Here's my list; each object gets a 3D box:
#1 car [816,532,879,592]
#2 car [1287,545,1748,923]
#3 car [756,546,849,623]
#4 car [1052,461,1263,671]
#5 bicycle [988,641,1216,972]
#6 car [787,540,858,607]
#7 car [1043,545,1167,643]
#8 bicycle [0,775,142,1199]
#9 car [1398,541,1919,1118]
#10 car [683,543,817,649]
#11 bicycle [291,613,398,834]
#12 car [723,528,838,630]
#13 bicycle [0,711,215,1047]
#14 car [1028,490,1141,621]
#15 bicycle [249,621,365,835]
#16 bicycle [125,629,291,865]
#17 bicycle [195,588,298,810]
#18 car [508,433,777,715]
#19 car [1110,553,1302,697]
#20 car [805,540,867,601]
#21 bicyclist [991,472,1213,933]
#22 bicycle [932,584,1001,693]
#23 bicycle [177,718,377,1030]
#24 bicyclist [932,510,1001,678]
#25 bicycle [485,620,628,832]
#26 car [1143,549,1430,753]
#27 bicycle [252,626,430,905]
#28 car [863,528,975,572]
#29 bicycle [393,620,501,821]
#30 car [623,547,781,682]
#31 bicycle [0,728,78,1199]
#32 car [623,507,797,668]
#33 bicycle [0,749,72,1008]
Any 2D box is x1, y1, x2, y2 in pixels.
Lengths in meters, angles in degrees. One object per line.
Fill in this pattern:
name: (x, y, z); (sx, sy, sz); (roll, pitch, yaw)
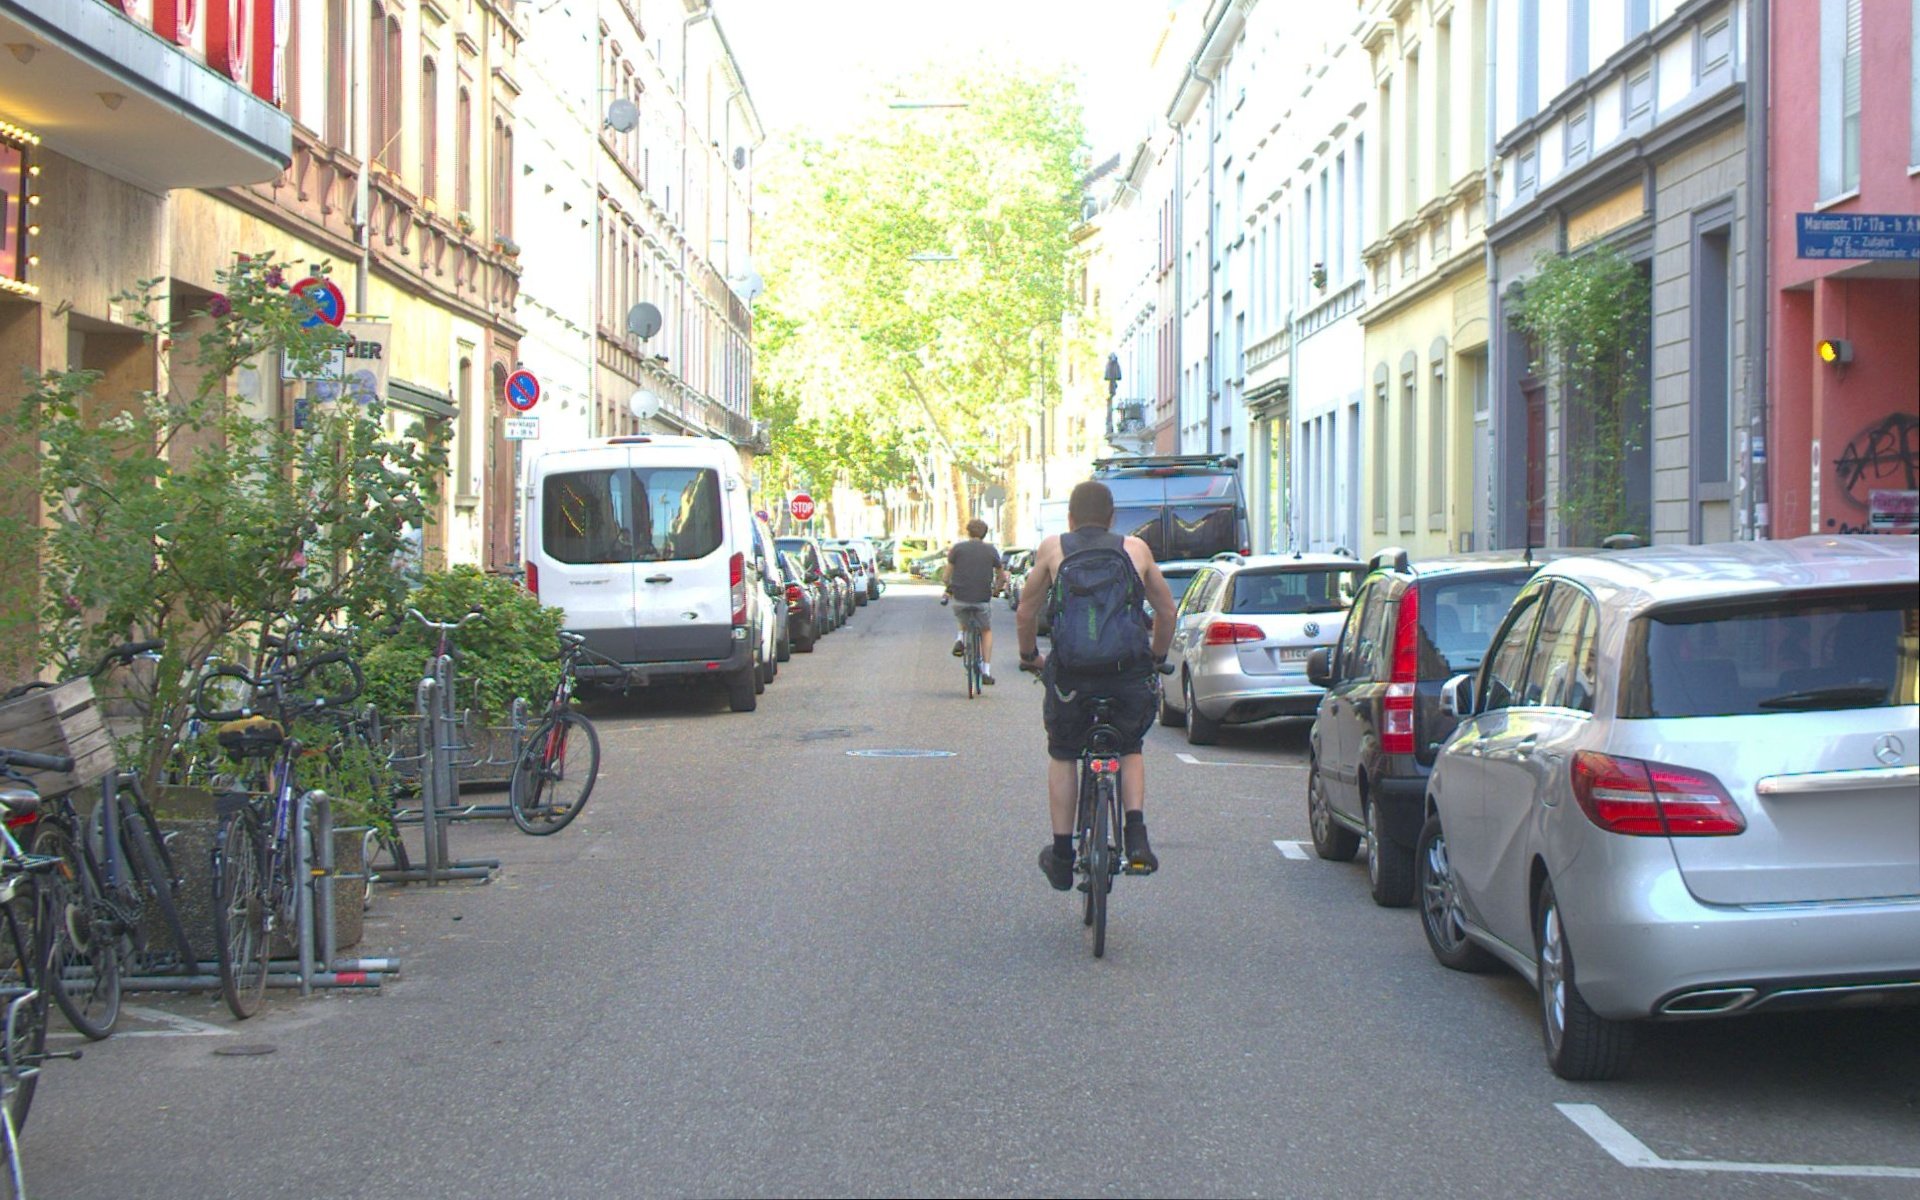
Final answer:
car: (-3.288, -1.137, 101.170); (1.787, 1.731, 3.876); (0, 1, -1)
car: (2.513, 0.540, 16.214); (1.602, 1.534, 3.450); (-2, 1, 1)
car: (-3.028, -0.317, 66.602); (1.592, 1.435, 3.654); (0, 1, 1)
car: (2.397, -0.457, 43.395); (2.175, 2.417, 6.310); (-1, 1, -1)
bicycle: (0.513, 0.747, 13.256); (0.740, 1.097, 2.042); (2, 1, -1)
car: (-3.256, -0.642, 81.597); (1.604, 1.525, 3.379); (-1, 1, -2)
car: (2.274, -0.127, 54.724); (1.746, 1.480, 4.243); (0, 1, -1)
bicycle: (-2.300, 0.924, 8.330); (0.321, 0.913, 1.290); (0, 1, 0)
car: (2.574, 0.589, 11.398); (1.746, 1.550, 4.171); (0, 1, 1)
car: (-3.047, -0.096, 50.603); (1.862, 1.435, 4.646); (0, 2, -2)
bicycle: (-3.526, 0.685, 19.773); (0.399, 1.170, 1.670); (2, 1, -4)
car: (-3.190, -0.394, 61.622); (1.801, 1.692, 4.000); (-2, 1, 0)
bicycle: (-2.885, 0.872, 11.226); (0.554, 0.941, 1.572); (0, 1, 0)
car: (2.519, -0.930, 69.993); (2.204, 2.542, 6.036); (0, 1, 2)
bicycle: (-3.433, 0.653, 18.134); (0.417, 1.044, 1.318); (2, 1, -4)
bicycle: (-3.605, 0.685, 16.550); (0.573, 1.042, 1.410); (1, 1, -4)
bicycle: (-4.005, 0.534, 19.352); (0.339, 1.170, 1.490); (2, 1, -4)
car: (-2.957, -0.285, 33.252); (2.168, 2.443, 5.922); (-1, 1, -2)
car: (2.597, 0.226, 37.172); (1.747, 1.439, 4.172); (1, 1, 0)
car: (-3.226, -0.788, 88.971); (1.544, 1.545, 3.466); (0, 1, -3)
bicyclist: (0.527, 0.369, 13.203); (0.740, 1.673, 1.117); (2, 1, -1)
bicycle: (0.063, 0.368, 34.254); (0.664, 1.034, 1.959); (0, 1, 0)
bicycle: (-2.279, 0.891, 11.576); (0.390, 0.913, 1.393); (0, 1, 0)
bicyclist: (0.061, -0.069, 34.308); (0.669, 1.653, 0.877); (0, 1, 0)
bicycle: (-2.215, 0.663, 18.735); (0.460, 1.044, 1.751); (2, 1, -16)
car: (2.591, 0.352, 28.275); (1.786, 1.449, 4.547); (-3, 1, -1)
bicycle: (-2.713, 0.695, 15.204); (0.546, 1.090, 1.882); (2, 1, -4)
car: (-1.686, -2.041, 140.014); (4.468, 1.753, 1.867); (0, 1, -4)
bicycle: (-2.939, 0.667, 19.801); (0.442, 1.044, 1.865); (2, 1, -4)
car: (-2.906, 0.128, 39.315); (1.645, 1.442, 3.840); (0, 1, -2)
bicycle: (-2.212, 0.850, 6.731); (0.499, 1.102, 1.830); (1, 1, -1)
car: (-3.137, -0.194, 43.907); (1.827, 1.885, 4.614); (-2, 1, 0)
bicycle: (-3.348, 0.959, 11.781); (0.256, 0.814, 1.299); (1, 1, 0)
